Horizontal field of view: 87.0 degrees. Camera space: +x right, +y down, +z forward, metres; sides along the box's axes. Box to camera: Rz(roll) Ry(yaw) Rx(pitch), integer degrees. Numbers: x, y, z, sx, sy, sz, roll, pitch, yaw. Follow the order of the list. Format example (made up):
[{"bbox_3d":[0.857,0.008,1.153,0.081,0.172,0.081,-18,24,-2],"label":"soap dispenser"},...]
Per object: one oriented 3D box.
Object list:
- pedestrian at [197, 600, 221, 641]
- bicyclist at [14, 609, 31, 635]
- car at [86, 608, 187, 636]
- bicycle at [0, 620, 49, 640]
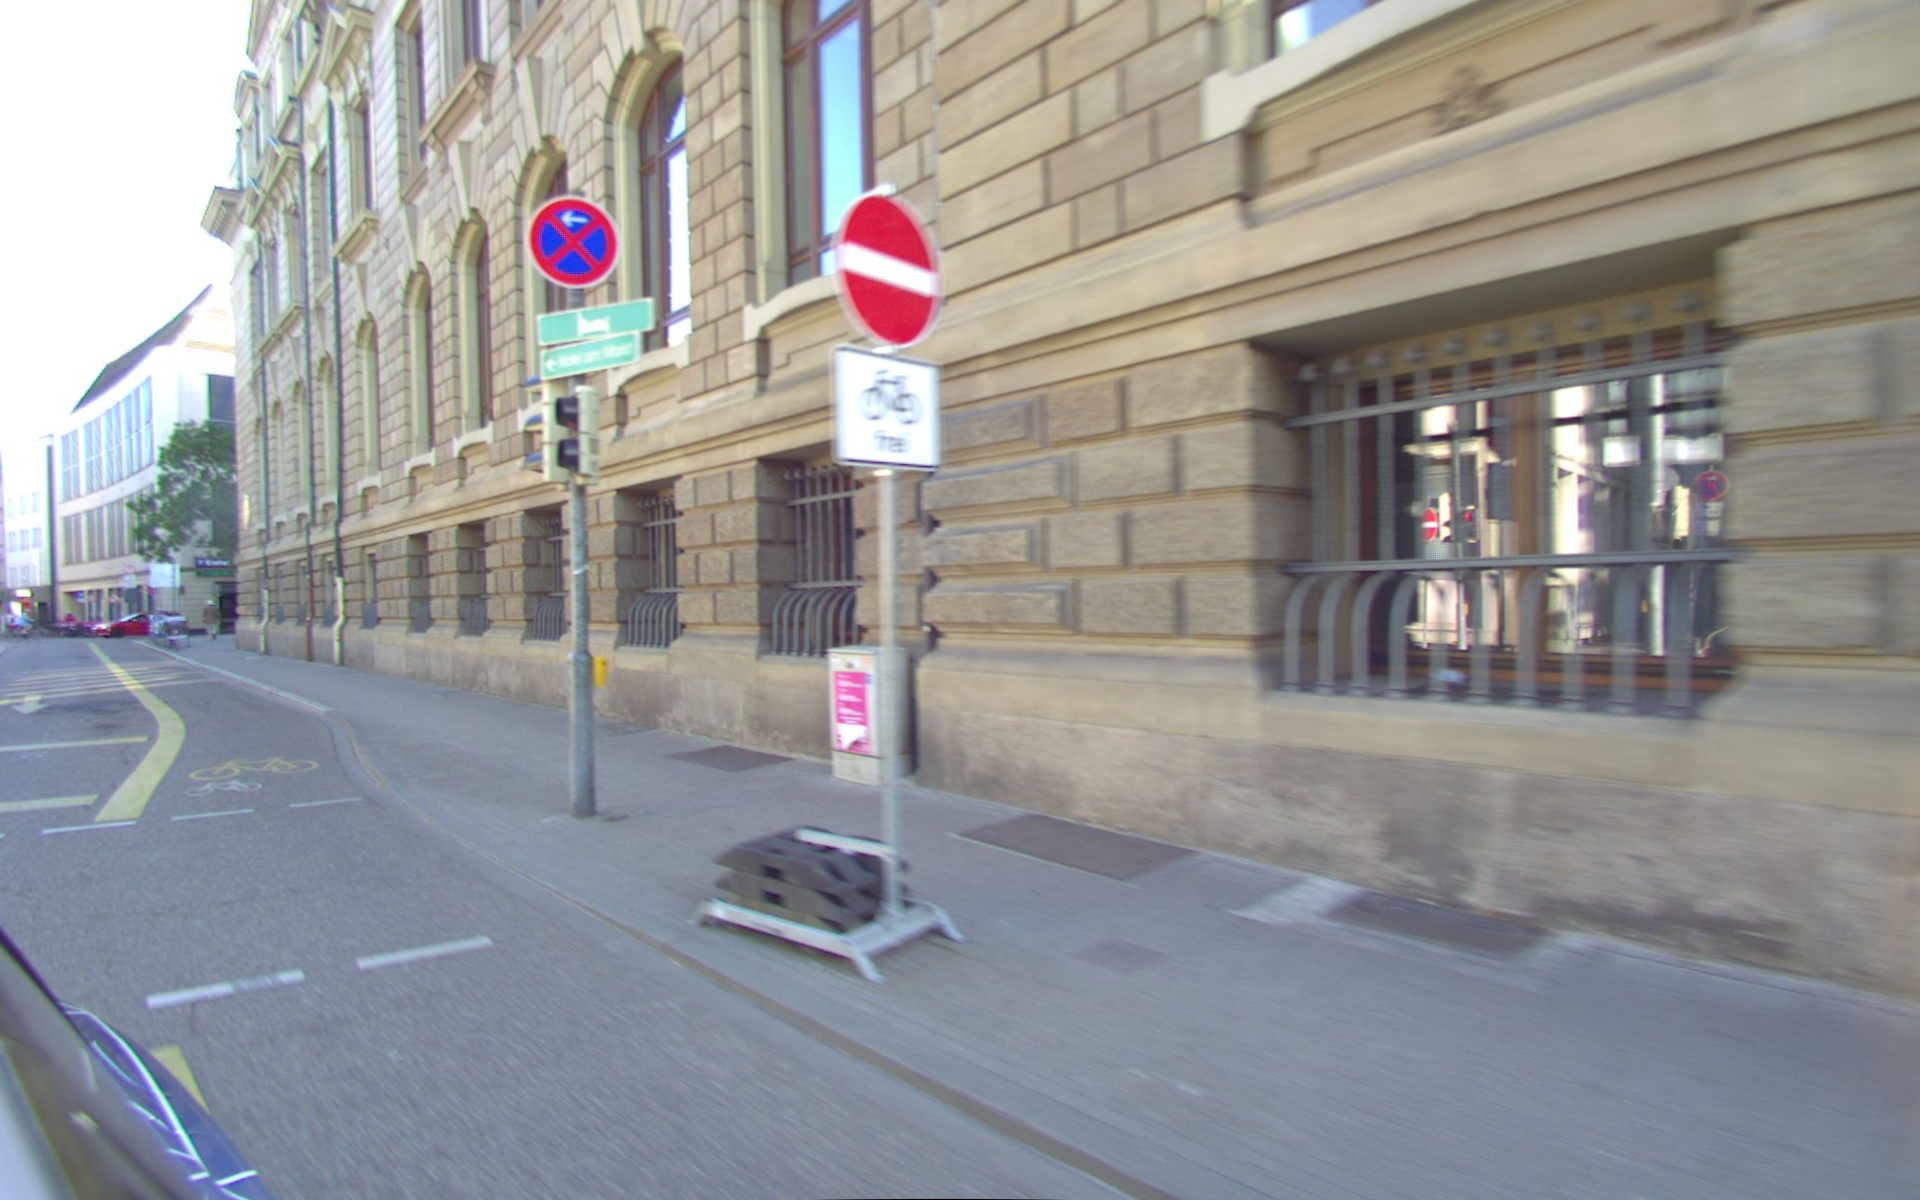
[{"bbox_3d":[-33.480,0.911,45.124,0.754,1.793,0.623,-2,1,-41],"label":"pedestrian"},{"bbox_3d":[-48.527,1.150,52.375,0.604,1.298,0.539,-2,1,-41],"label":"bicyclist"},{"bbox_3d":[-47.742,1.260,58.743,1.629,1.482,4.220,-1,1,36],"label":"car"},{"bbox_3d":[-48.478,1.551,52.437,1.844,0.916,0.536,-2,4,-41],"label":"bicycle"}]
